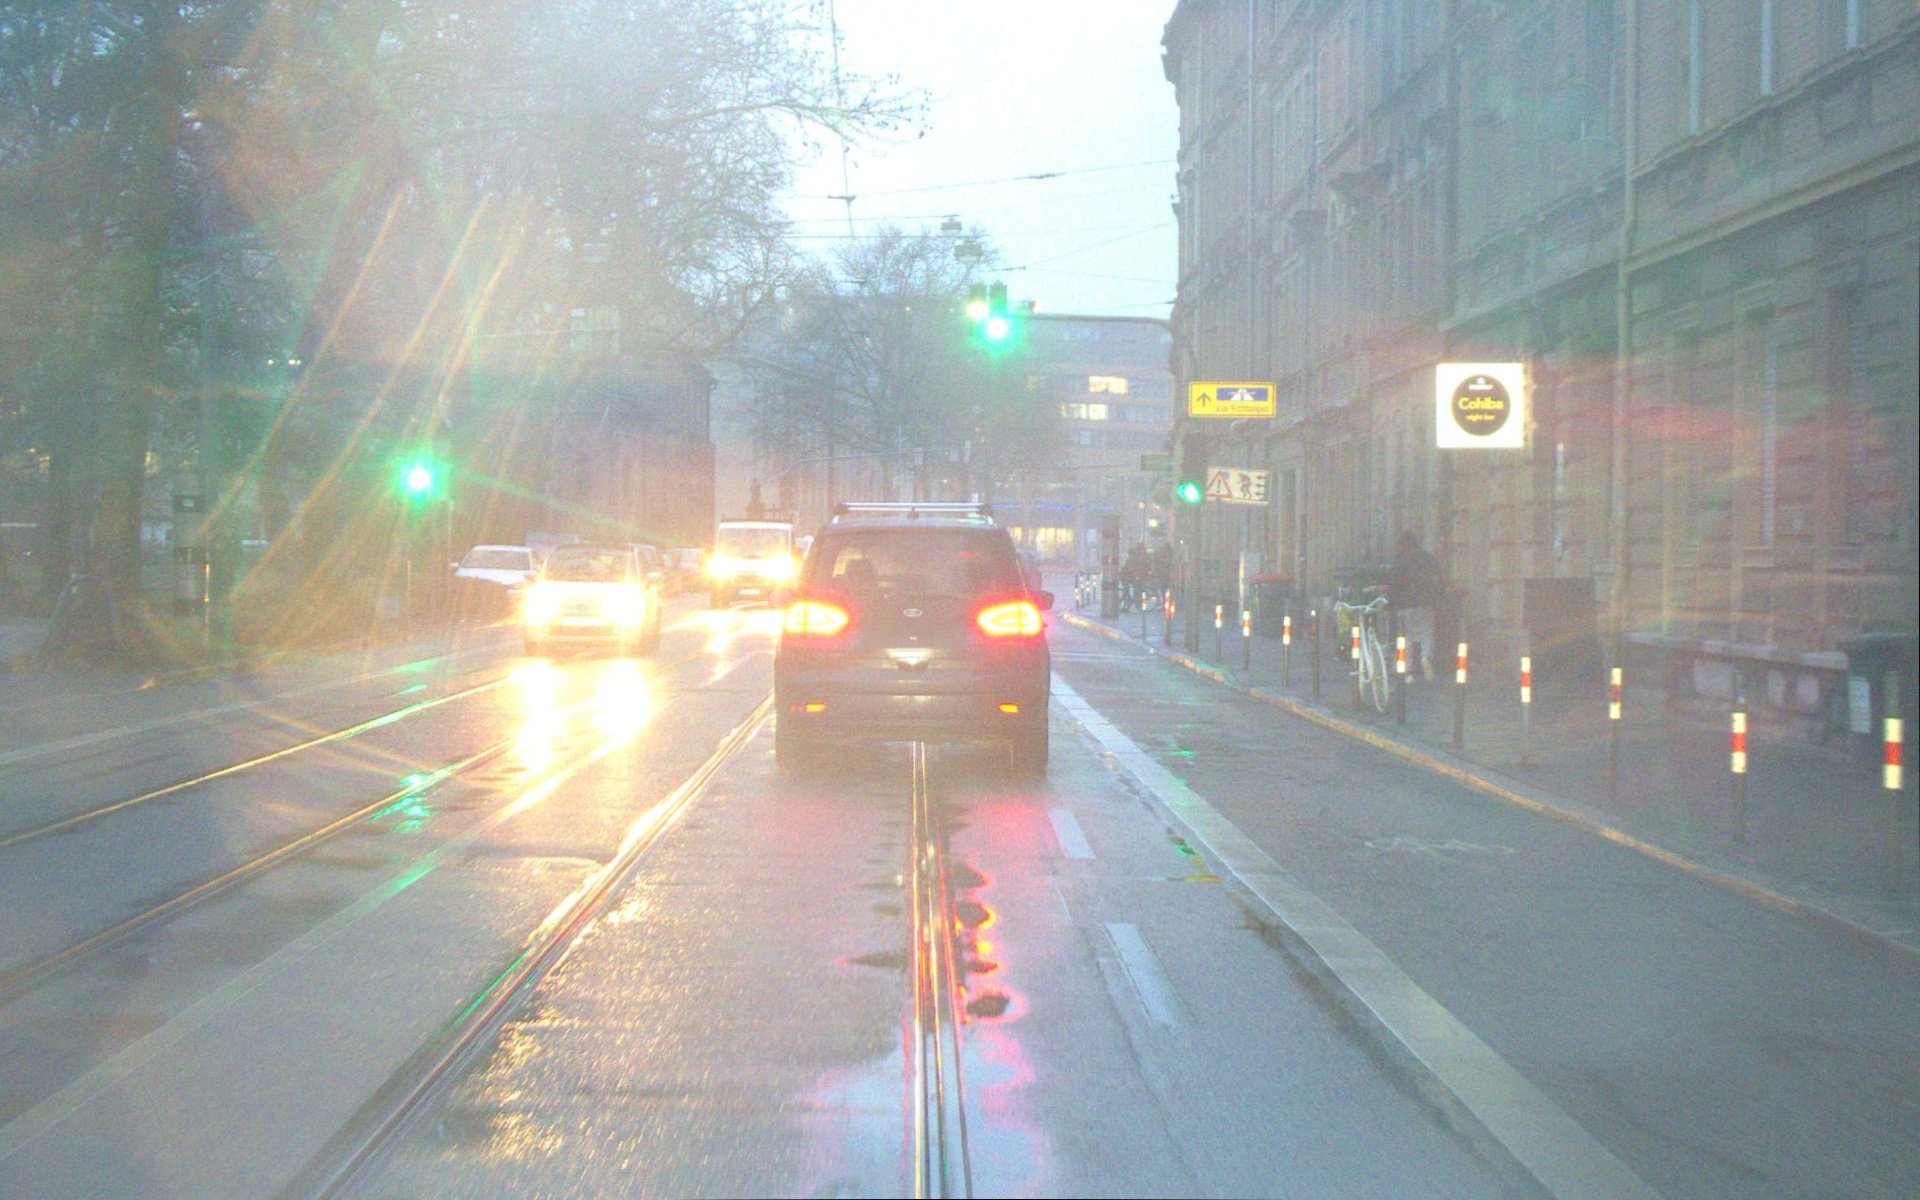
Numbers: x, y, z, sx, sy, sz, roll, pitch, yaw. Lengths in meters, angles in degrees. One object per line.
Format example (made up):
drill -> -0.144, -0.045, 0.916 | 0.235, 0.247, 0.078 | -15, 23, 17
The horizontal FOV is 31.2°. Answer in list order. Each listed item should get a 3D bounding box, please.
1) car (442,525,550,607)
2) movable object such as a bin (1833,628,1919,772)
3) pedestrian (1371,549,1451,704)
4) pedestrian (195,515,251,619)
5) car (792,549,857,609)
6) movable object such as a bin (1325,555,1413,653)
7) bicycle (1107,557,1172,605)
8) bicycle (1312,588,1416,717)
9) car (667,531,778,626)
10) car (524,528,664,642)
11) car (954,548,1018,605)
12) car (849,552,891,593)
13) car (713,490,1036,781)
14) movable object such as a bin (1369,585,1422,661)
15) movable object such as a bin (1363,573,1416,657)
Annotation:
car -> -9.663, -0.708, 71.893 | 1.983, 1.610, 4.430 | 1, 0, -5
movable object such as a bin -> 6.143, 0.661, 22.887 | 0.506, 0.928, 0.507 | 1, 1, -2
pedestrian -> 5.044, 0.287, 38.463 | 0.835, 1.695, 0.953 | 1, 0, 8
pedestrian -> -12.997, -0.582, 60.641 | 0.820, 1.809, 1.010 | 1, 0, -6
car -> -4.758, -0.742, 120.893 | 1.993, 2.007, 4.000 | 1, 0, 1
movable object such as a bin -> 5.514, 0.047, 46.438 | 0.887, 1.284, 1.262 | 0, 1, -7
bicycle -> 4.467, -0.480, 85.840 | 0.792, 1.140, 2.244 | 1, 0, -20
bicycle -> 3.795, 0.472, 32.424 | 0.684, 1.152, 2.188 | 1, 0, 0
car -> -5.983, -0.546, 87.221 | 2.446, 2.339, 5.845 | 0, 0, 0
car -> -4.963, -0.224, 46.956 | 1.530, 1.476, 3.561 | 1, 1, 0
car -> 0.889, -0.808, 114.946 | 1.993, 1.835, 4.000 | 1, 1, 2
car -> -4.534, -1.395, 173.618 | 1.993, 2.007, 4.000 | 1, 0, -1
car -> -0.508, 0.201, 24.059 | 1.993, 1.835, 4.000 | 1, 1, 2
movable object such as a bin -> 5.380, 0.277, 42.470 | 0.488, 0.925, 0.425 | 0, 1, -27
movable object such as a bin -> 5.588, 0.190, 44.719 | 0.611, 1.078, 0.599 | 1, 1, 15
